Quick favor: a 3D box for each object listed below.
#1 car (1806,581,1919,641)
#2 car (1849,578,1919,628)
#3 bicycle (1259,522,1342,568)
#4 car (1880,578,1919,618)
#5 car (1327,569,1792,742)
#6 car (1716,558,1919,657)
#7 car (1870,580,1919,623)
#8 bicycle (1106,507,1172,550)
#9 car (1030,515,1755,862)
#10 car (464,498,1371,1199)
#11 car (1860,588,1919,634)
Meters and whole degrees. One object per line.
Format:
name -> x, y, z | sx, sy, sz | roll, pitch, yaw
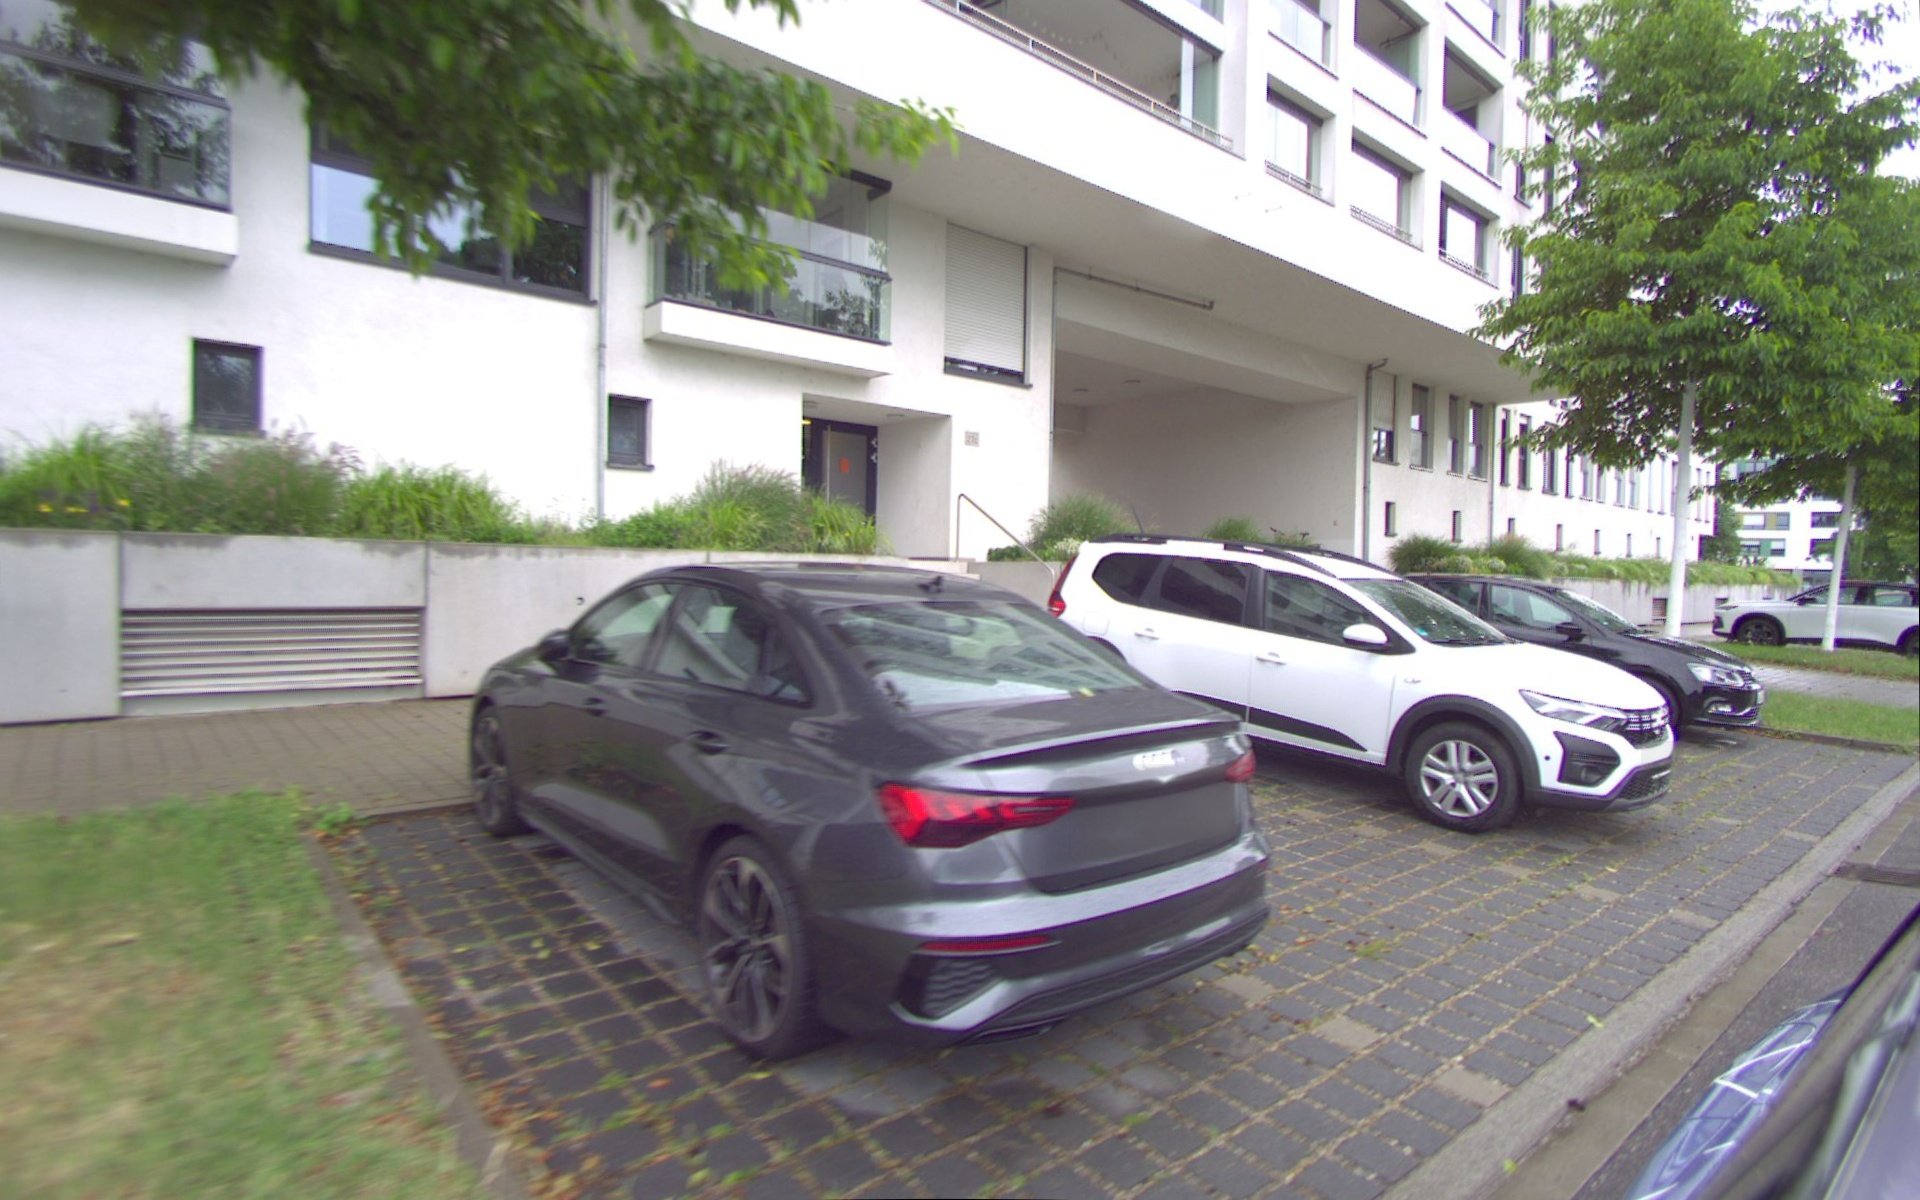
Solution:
car -> 26.342, 0.316, 28.192 | 1.789, 1.468, 3.996 | -2, 5, -41
car -> 33.479, 0.153, 34.898 | 1.606, 1.574, 3.998 | -1, 4, -40
bicycle -> 8.600, -1.364, 25.626 | 0.711, 1.068, 1.898 | -1, 0, -41
car -> 38.953, 0.027, 39.287 | 1.794, 1.515, 4.581 | -1, 4, -41
car -> 6.331, 0.439, 10.994 | 1.905, 1.514, 3.991 | 0, 1, -43
car -> 19.017, 0.146, 21.343 | 1.854, 1.705, 4.549 | -1, 7, -42
car -> 35.825, 0.142, 36.290 | 1.662, 1.499, 4.499 | -1, 4, -40
bicycle -> 5.241, -2.073, 29.694 | 0.711, 1.132, 1.898 | -1, 0, -41
car -> 2.807, 0.314, 7.476 | 1.902, 1.707, 4.486 | 0, 4, -41
car -> -0.627, 0.447, 4.226 | 1.654, 1.528, 3.996 | 1, 3, -40
car -> 32.009, 0.359, 32.914 | 1.565, 1.493, 3.961 | -1, 1, -42
